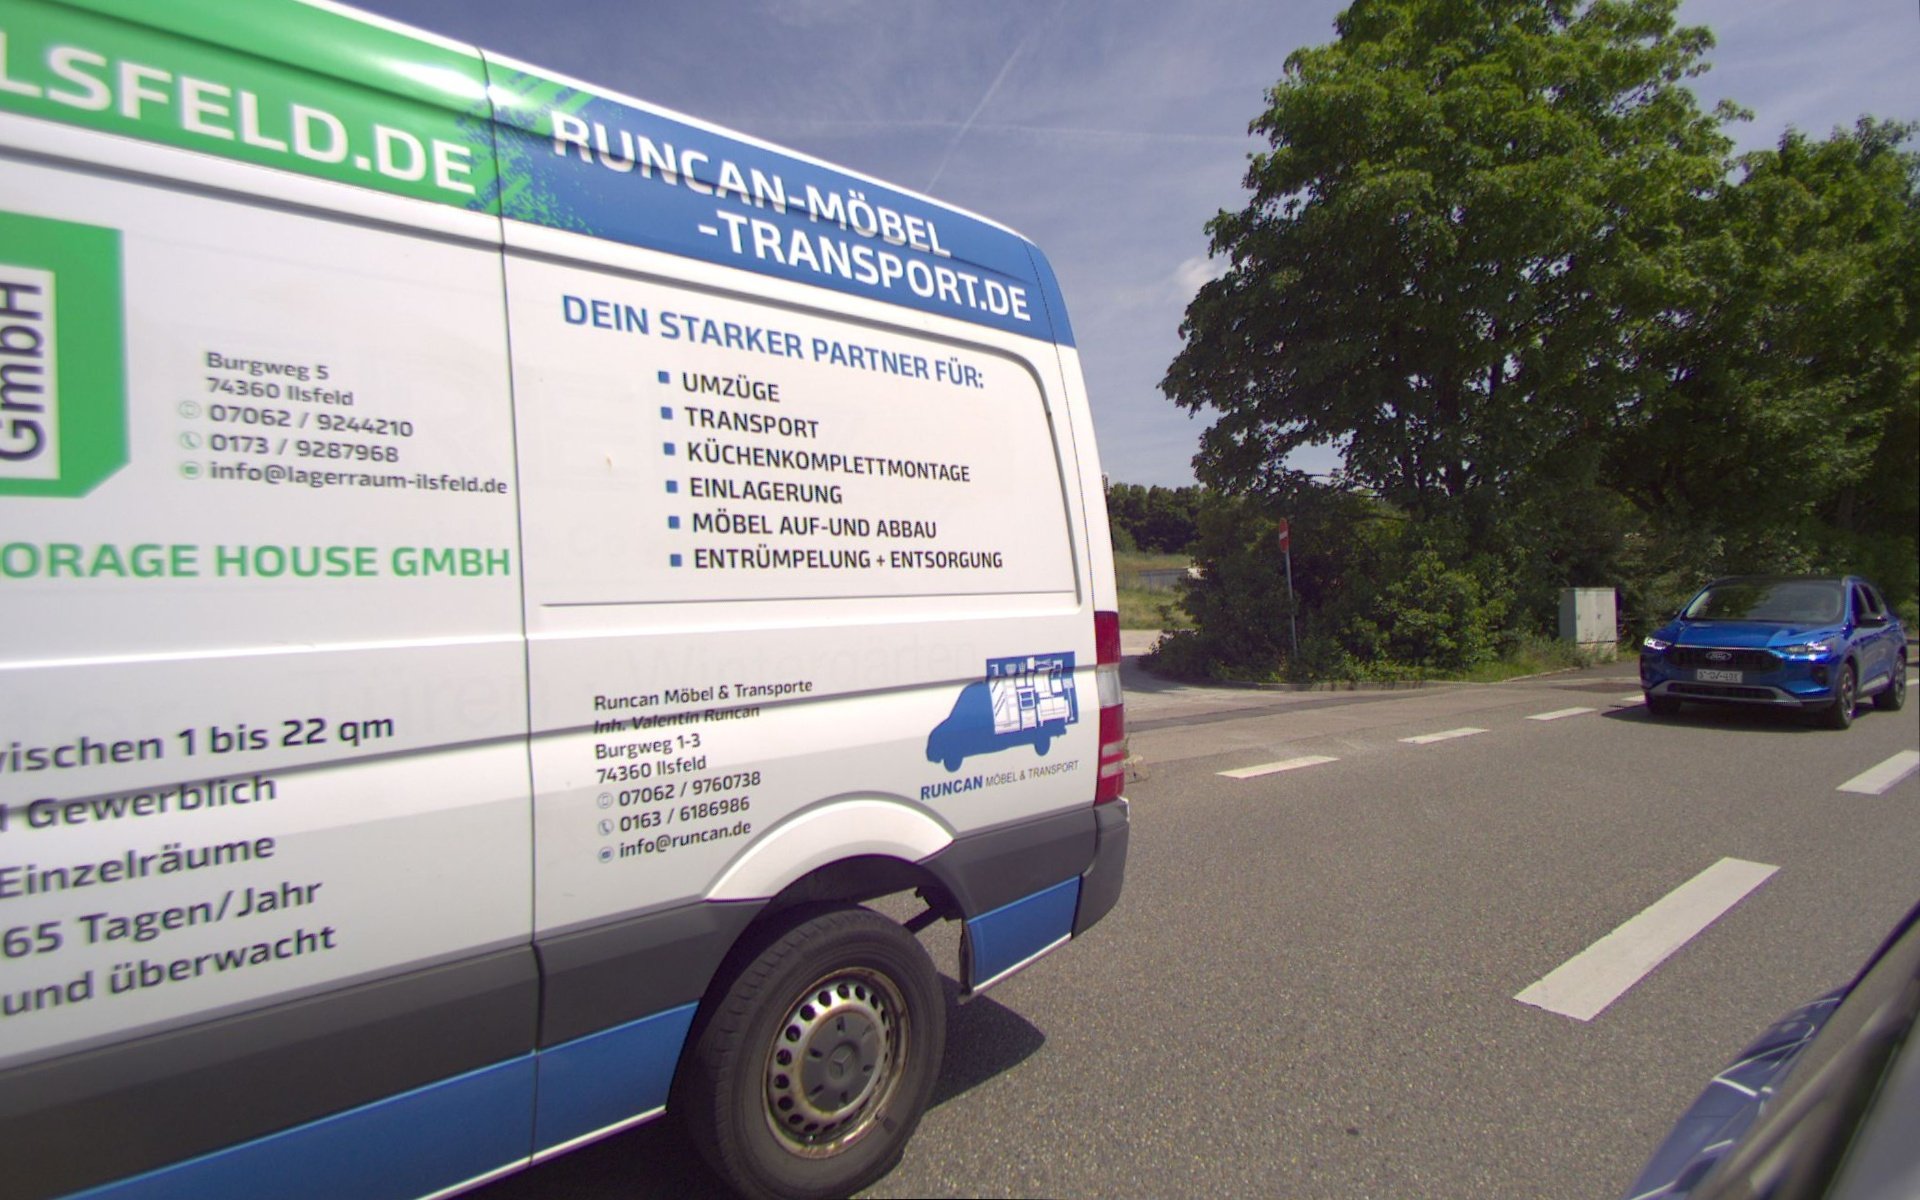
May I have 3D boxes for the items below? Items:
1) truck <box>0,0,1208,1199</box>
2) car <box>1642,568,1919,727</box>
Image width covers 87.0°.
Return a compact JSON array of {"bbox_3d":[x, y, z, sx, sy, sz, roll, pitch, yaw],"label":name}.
[{"bbox_3d":[-2.072,0.000,2.129,5.840,2.771,2.070,-1,0,-41],"label":"truck"},{"bbox_3d":[9.960,0.430,12.128,4.309,1.578,1.783,-1,1,-39],"label":"car"}]
